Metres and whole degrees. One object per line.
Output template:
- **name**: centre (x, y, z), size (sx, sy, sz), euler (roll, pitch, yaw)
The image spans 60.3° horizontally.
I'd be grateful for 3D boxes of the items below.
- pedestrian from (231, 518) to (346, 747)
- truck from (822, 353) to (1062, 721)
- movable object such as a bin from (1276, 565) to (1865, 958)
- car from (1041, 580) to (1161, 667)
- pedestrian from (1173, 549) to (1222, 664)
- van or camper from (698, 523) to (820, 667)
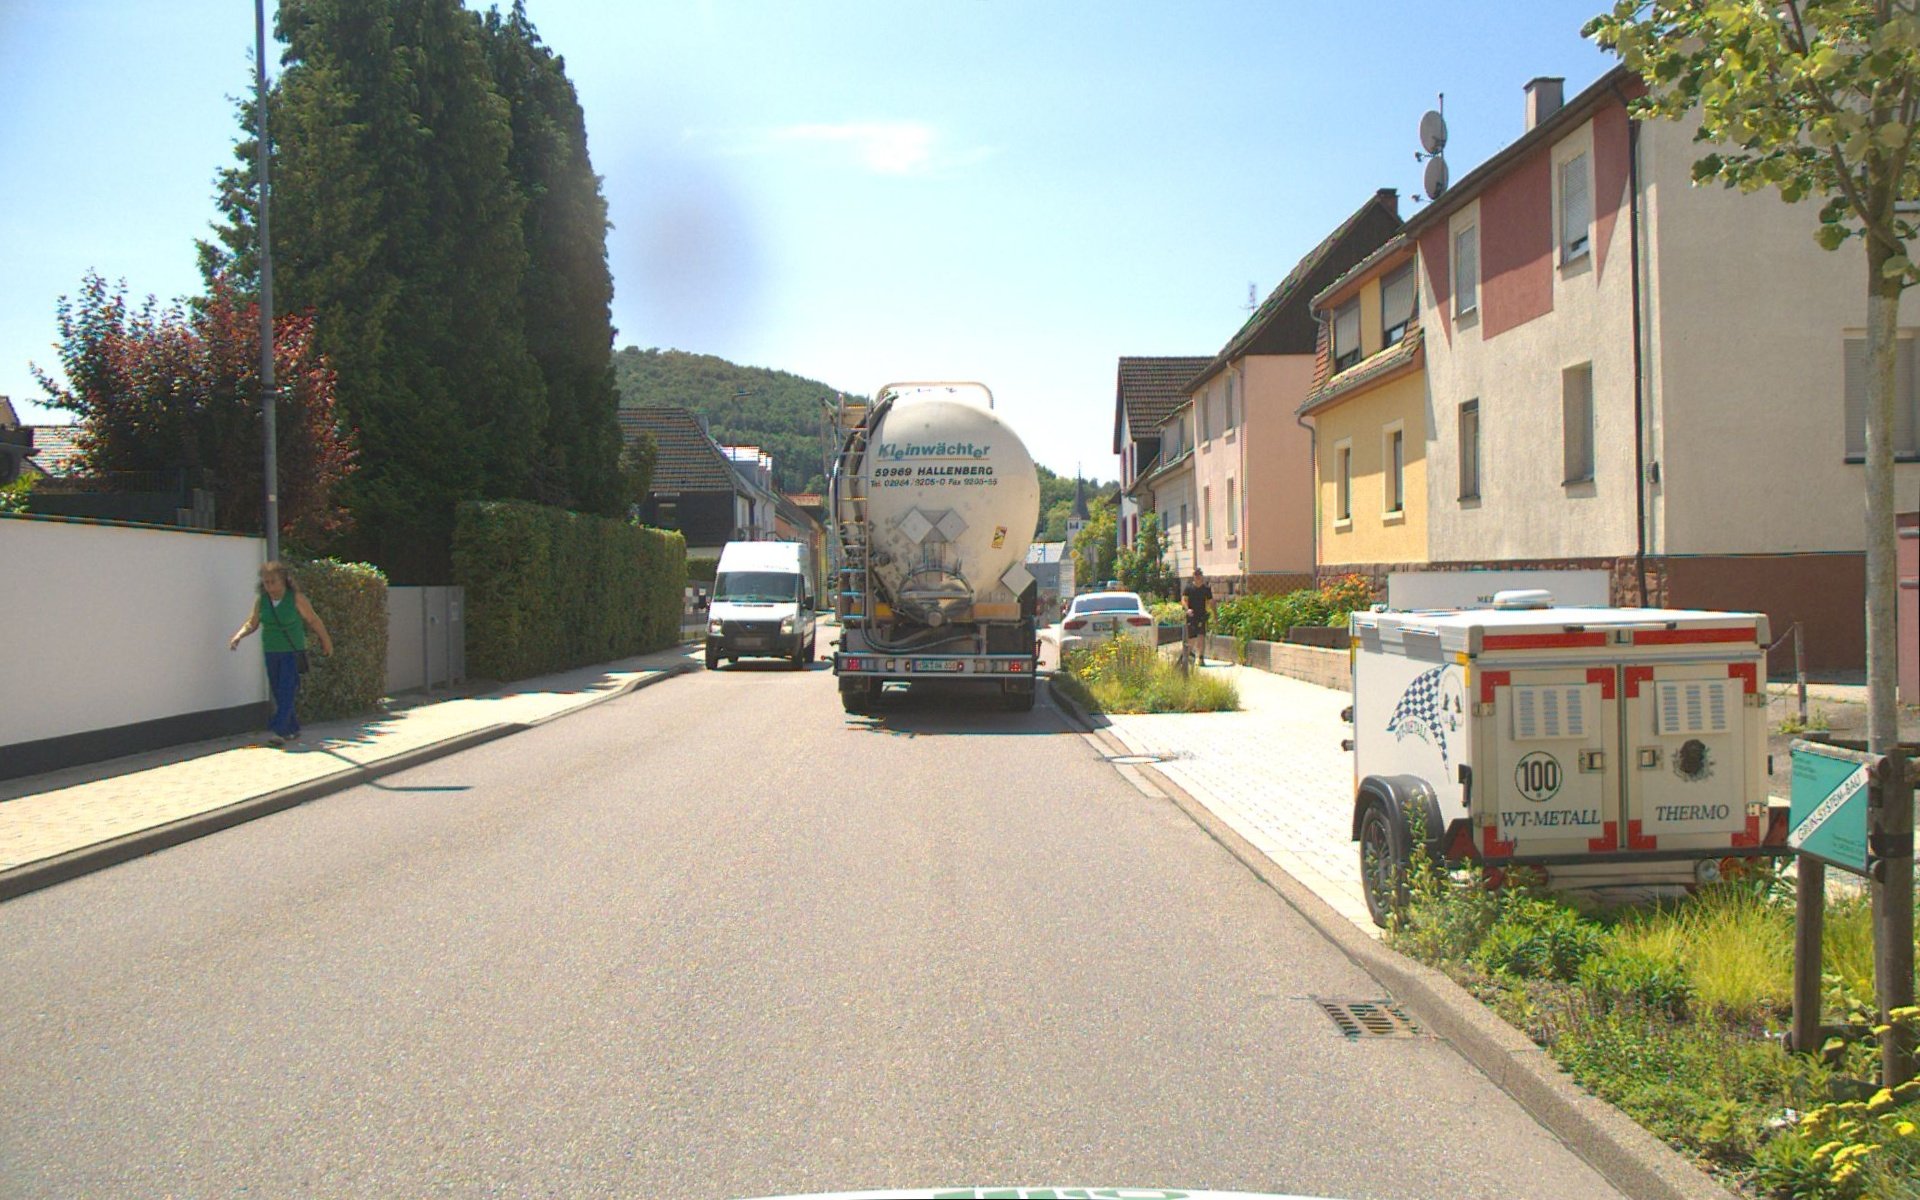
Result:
- **pedestrian**: centre (-6.176, 0.296, 15.245), size (0.706, 2.049, 0.804), euler (1, -1, -2)
- **truck**: centre (-0.361, -0.720, 24.020), size (2.695, 4.128, 10.885), euler (0, 0, -2)
- **movable object such as a bin**: centre (2.608, 0.629, 7.789), size (1.540, 1.441, 3.040), euler (-1, -1, -2)
- **car**: centre (2.589, 0.466, 31.389), size (1.721, 1.442, 4.631), euler (-3, -1, -1)
- **pedestrian**: centre (4.318, 0.124, 30.142), size (0.731, 2.049, 1.033), euler (1, -1, 0)
- **van or camper**: centre (-4.139, -0.060, 34.936), size (1.996, 2.761, 5.822), euler (1, -1, -2)
